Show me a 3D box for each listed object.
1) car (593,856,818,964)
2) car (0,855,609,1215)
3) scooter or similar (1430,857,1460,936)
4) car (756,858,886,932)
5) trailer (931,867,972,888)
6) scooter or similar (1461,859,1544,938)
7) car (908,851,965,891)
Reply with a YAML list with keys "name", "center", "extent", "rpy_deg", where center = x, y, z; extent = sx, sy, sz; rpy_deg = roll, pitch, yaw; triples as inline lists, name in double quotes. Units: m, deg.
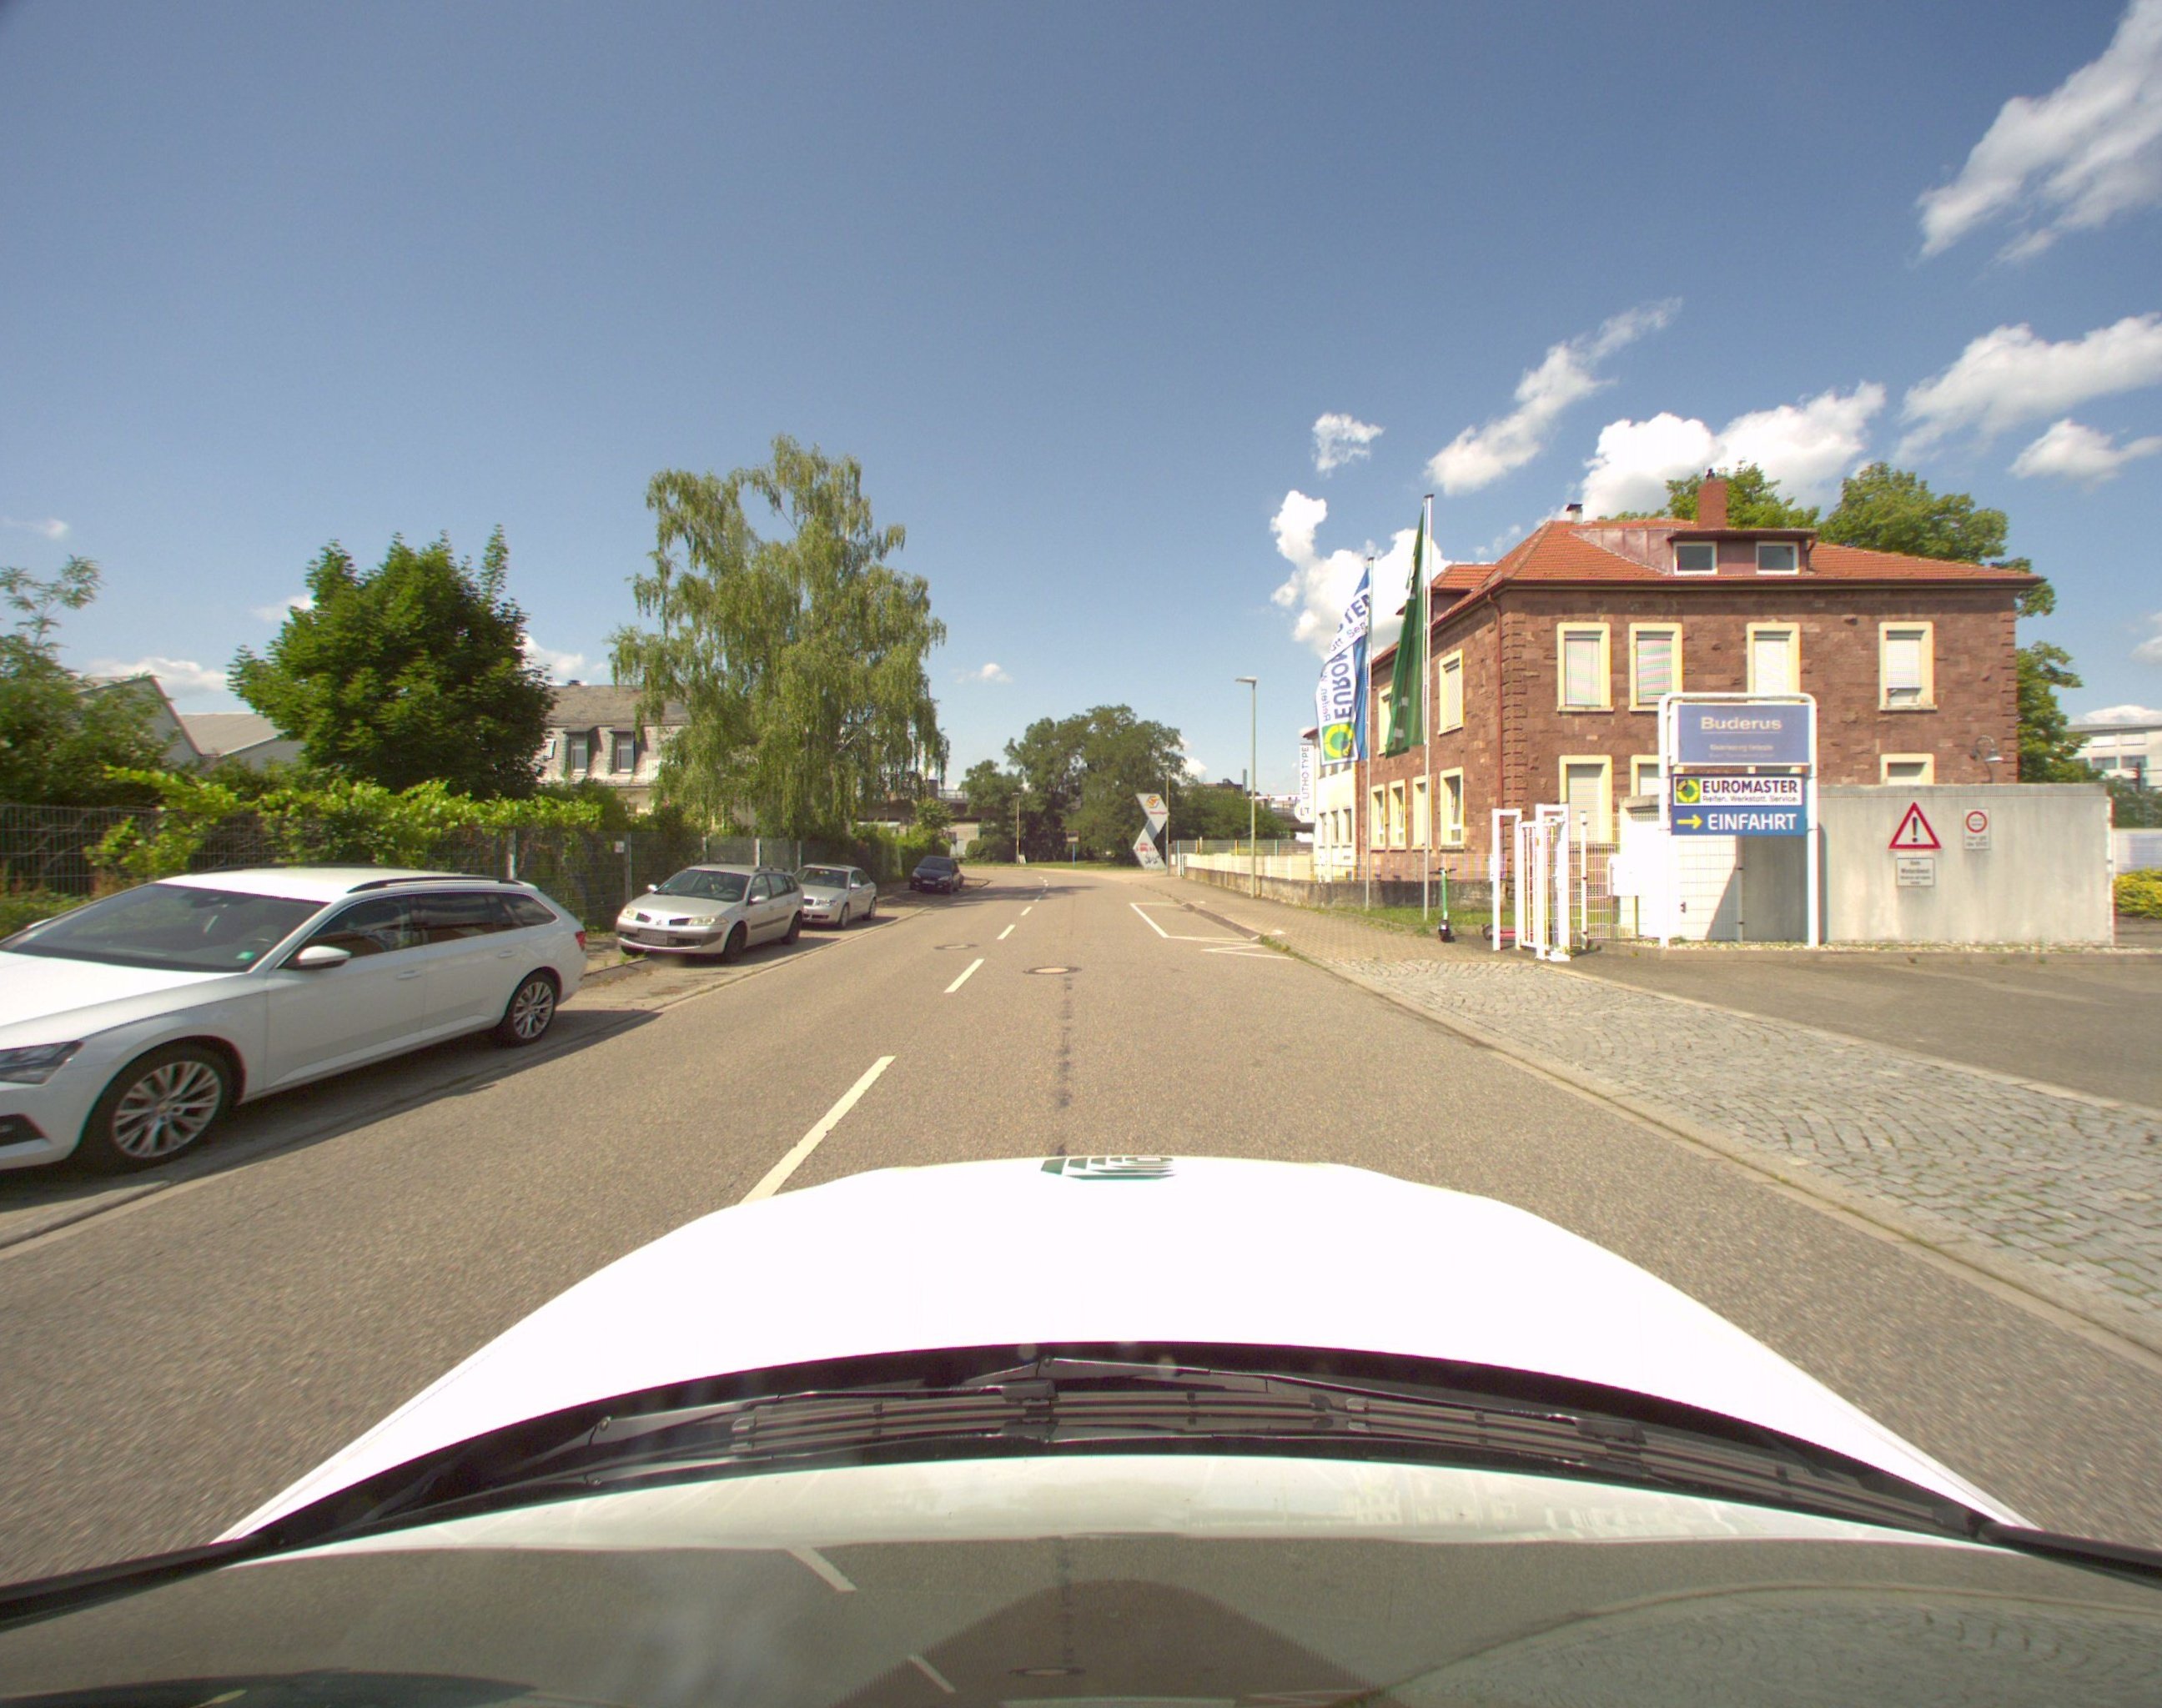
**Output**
- name: "car"
  center: [-6.246, 0.830, 14.251]
  extent: [1.789, 1.527, 4.658]
  rpy_deg: [-1, 0, 0]
- name: "car"
  center: [-5.685, 0.826, 5.896]
  extent: [1.694, 1.595, 4.787]
  rpy_deg: [-1, 0, 0]
- name: "scooter or similar"
  center: [6.119, 0.708, 13.681]
  extent: [0.332, 1.312, 0.366]
  rpy_deg: [0, 0, -1]
- name: "car"
  center: [-6.275, 0.912, 20.231]
  extent: [1.719, 1.477, 4.629]
  rpy_deg: [4, 0, -1]
- name: "trailer"
  center: [-6.155, 1.098, 38.914]
  extent: [1.459, 0.851, 2.467]
  rpy_deg: [4, 0, 0]
- name: "scooter or similar"
  center: [6.757, 0.707, 13.083]
  extent: [1.137, 1.245, 0.260]
  rpy_deg: [-1, 0, 17]
- name: "car"
  center: [-6.089, 0.709, 34.717]
  extent: [1.677, 1.512, 4.155]
  rpy_deg: [4, -1, -1]
